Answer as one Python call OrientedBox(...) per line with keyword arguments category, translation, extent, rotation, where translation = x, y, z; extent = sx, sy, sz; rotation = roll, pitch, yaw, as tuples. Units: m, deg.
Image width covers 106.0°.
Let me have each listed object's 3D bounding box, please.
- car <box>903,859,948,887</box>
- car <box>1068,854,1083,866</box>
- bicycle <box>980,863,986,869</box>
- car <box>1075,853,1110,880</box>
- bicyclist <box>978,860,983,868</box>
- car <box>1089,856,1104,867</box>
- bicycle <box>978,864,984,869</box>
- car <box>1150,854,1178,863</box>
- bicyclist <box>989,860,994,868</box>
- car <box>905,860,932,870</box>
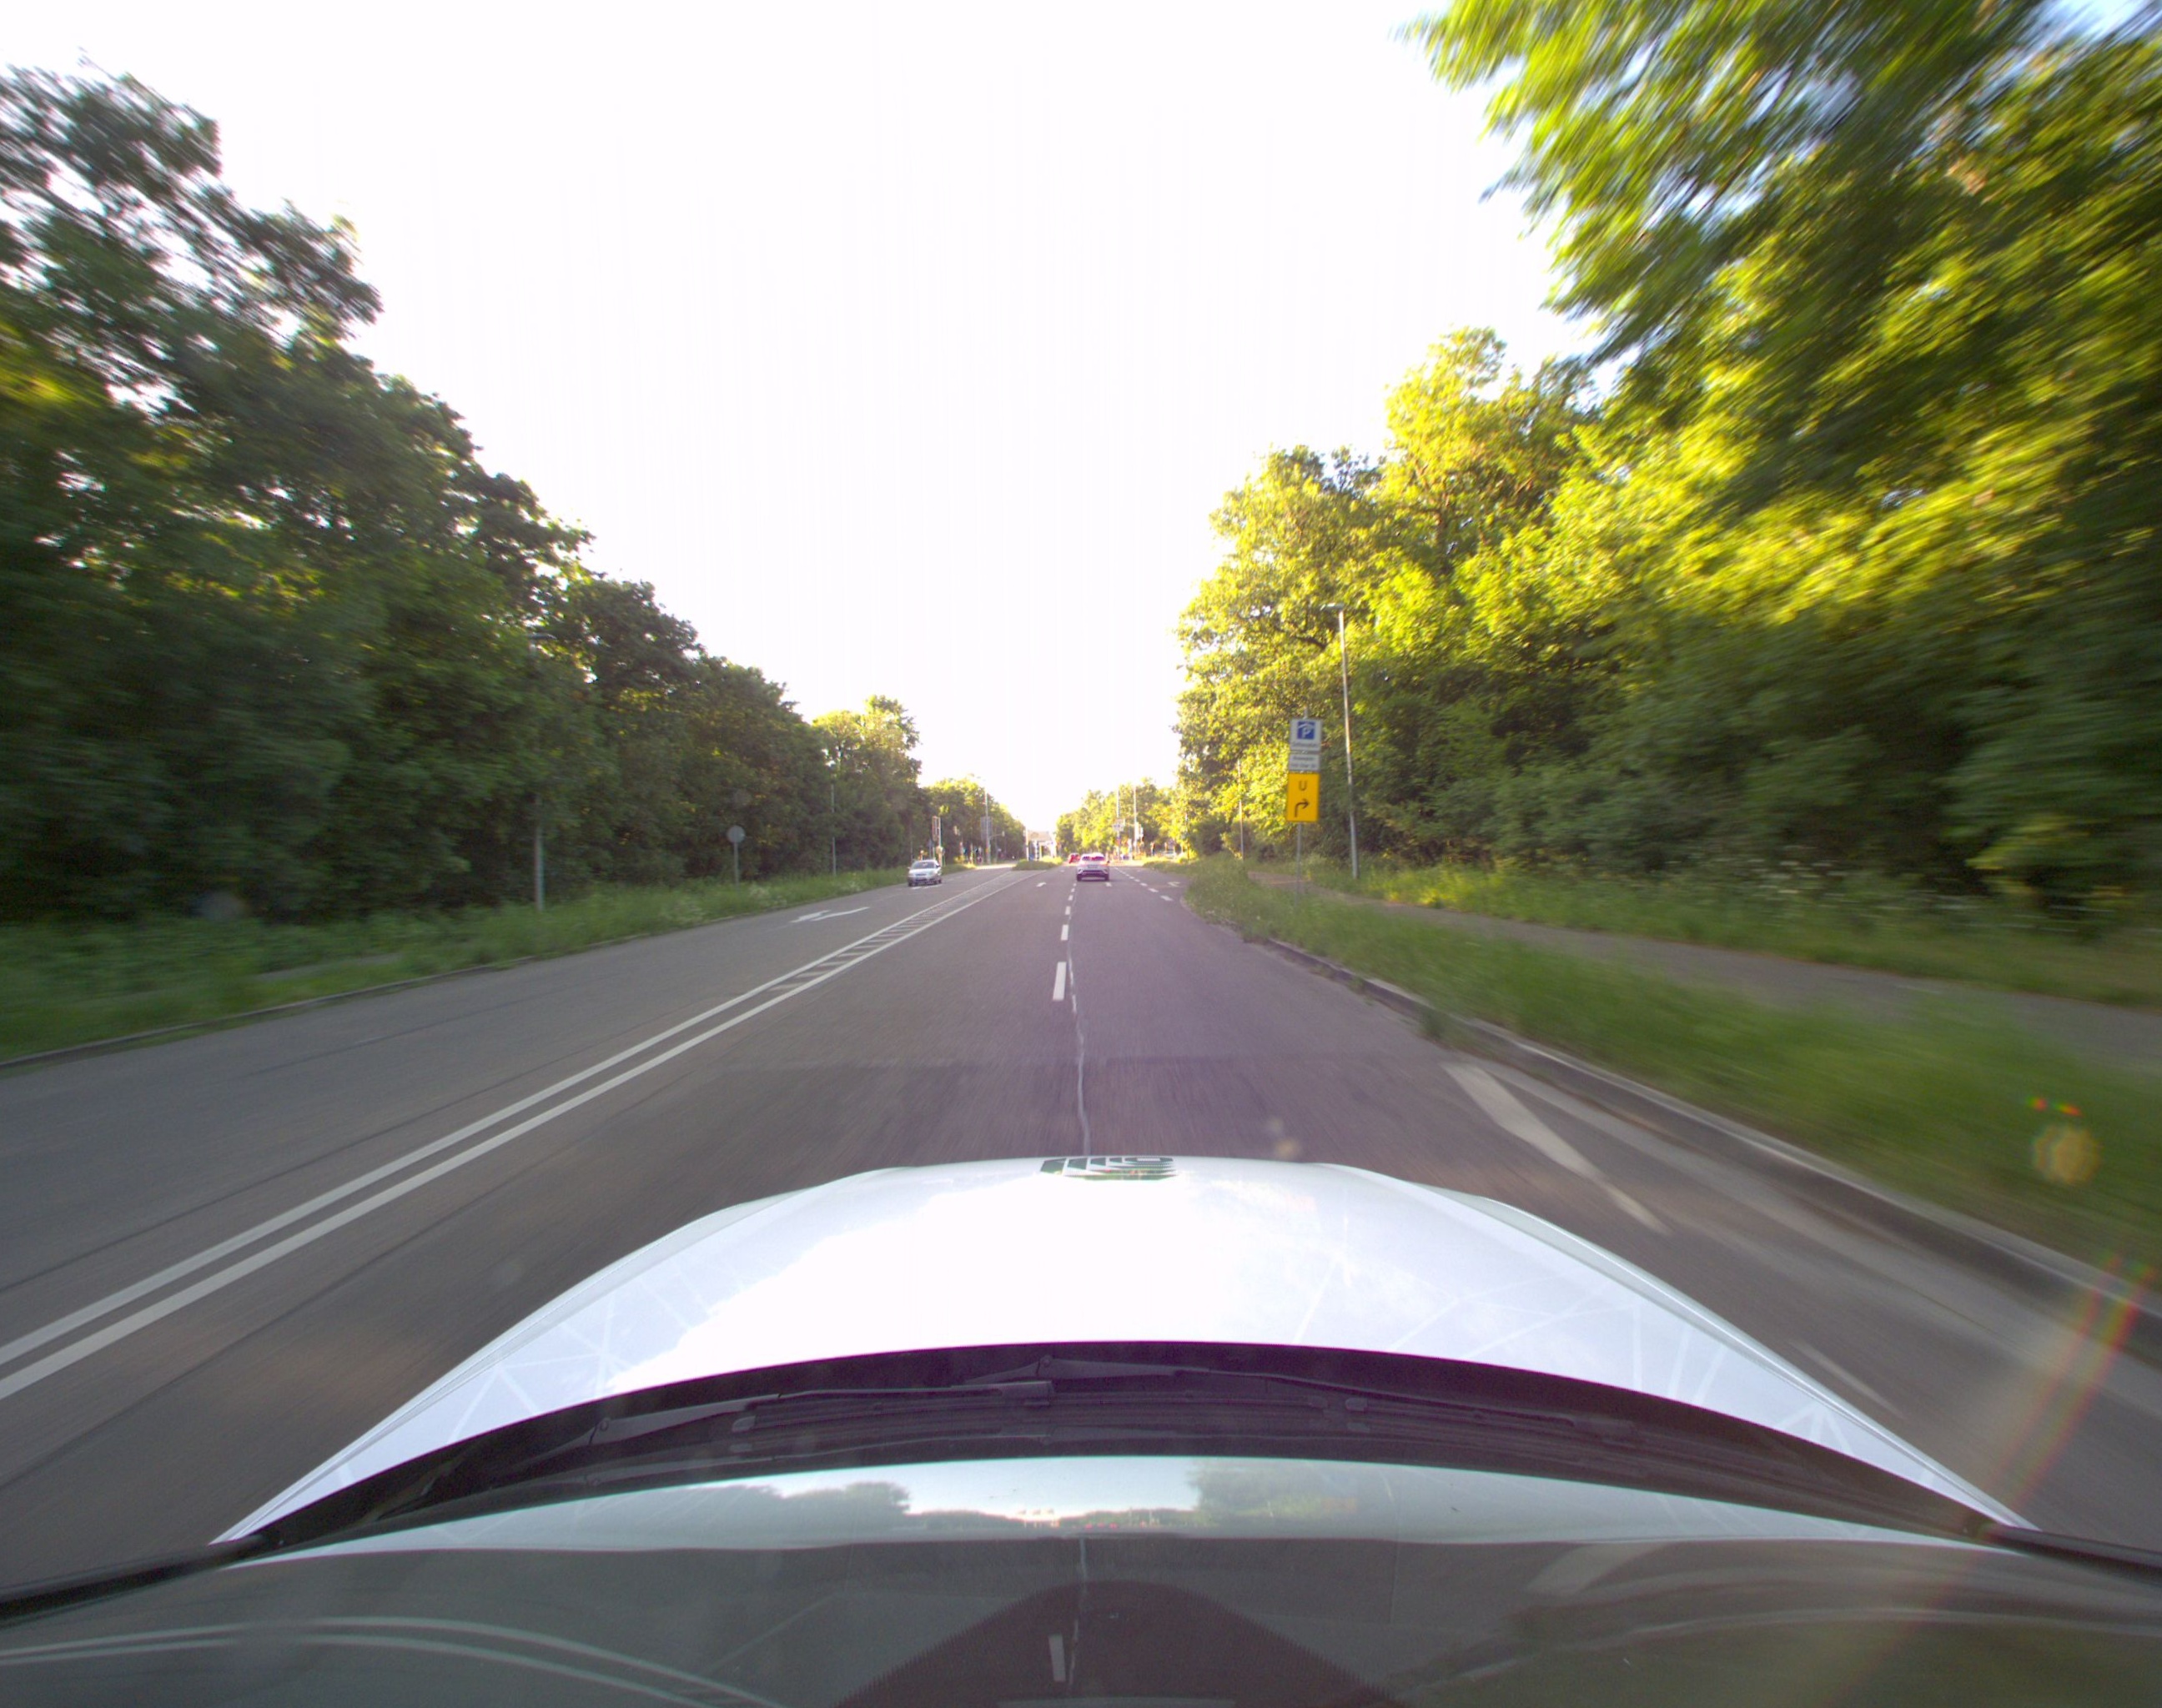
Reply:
OrientedBox(category="car", translation=(-9.237, 1.106, 48.750), extent=(1.823, 1.455, 4.478), rotation=(-4, 0, -1))
OrientedBox(category="car", translation=(-0.819, 0.868, 117.244), extent=(1.990, 1.684, 3.994), rotation=(-2, 0, -4))
OrientedBox(category="bicycle", translation=(-17.652, 2.166, 146.457), extent=(0.711, 0.914, 1.912), rotation=(-2, 0, 4))
OrientedBox(category="car", translation=(0.622, 0.711, 46.092), extent=(1.857, 1.444, 3.999), rotation=(-1, 0, 0))
OrientedBox(category="bicyclist", translation=(-17.750, 1.729, 144.366), extent=(0.711, 1.356, 0.991), rotation=(-2, 0, 3))
OrientedBox(category="car", translation=(2.119, 0.995, 109.769), extent=(1.933, 1.414, 4.001), rotation=(-2, 0, 1))
OrientedBox(category="bicycle", translation=(-17.740, 2.164, 144.366), extent=(0.711, 0.914, 1.912), rotation=(-2, 0, 4))
OrientedBox(category="car", translation=(15.674, 0.858, 153.868), extent=(4.836, 1.580, 1.985), rotation=(-1, 0, -22))
OrientedBox(category="bicyclist", translation=(-15.871, 1.713, 144.363), extent=(0.711, 1.339, 0.991), rotation=(-2, 0, 3))
OrientedBox(category="car", translation=(-25.378, 1.709, 127.222), extent=(3.806, 1.389, 1.912), rotation=(-1, 0, -26))
